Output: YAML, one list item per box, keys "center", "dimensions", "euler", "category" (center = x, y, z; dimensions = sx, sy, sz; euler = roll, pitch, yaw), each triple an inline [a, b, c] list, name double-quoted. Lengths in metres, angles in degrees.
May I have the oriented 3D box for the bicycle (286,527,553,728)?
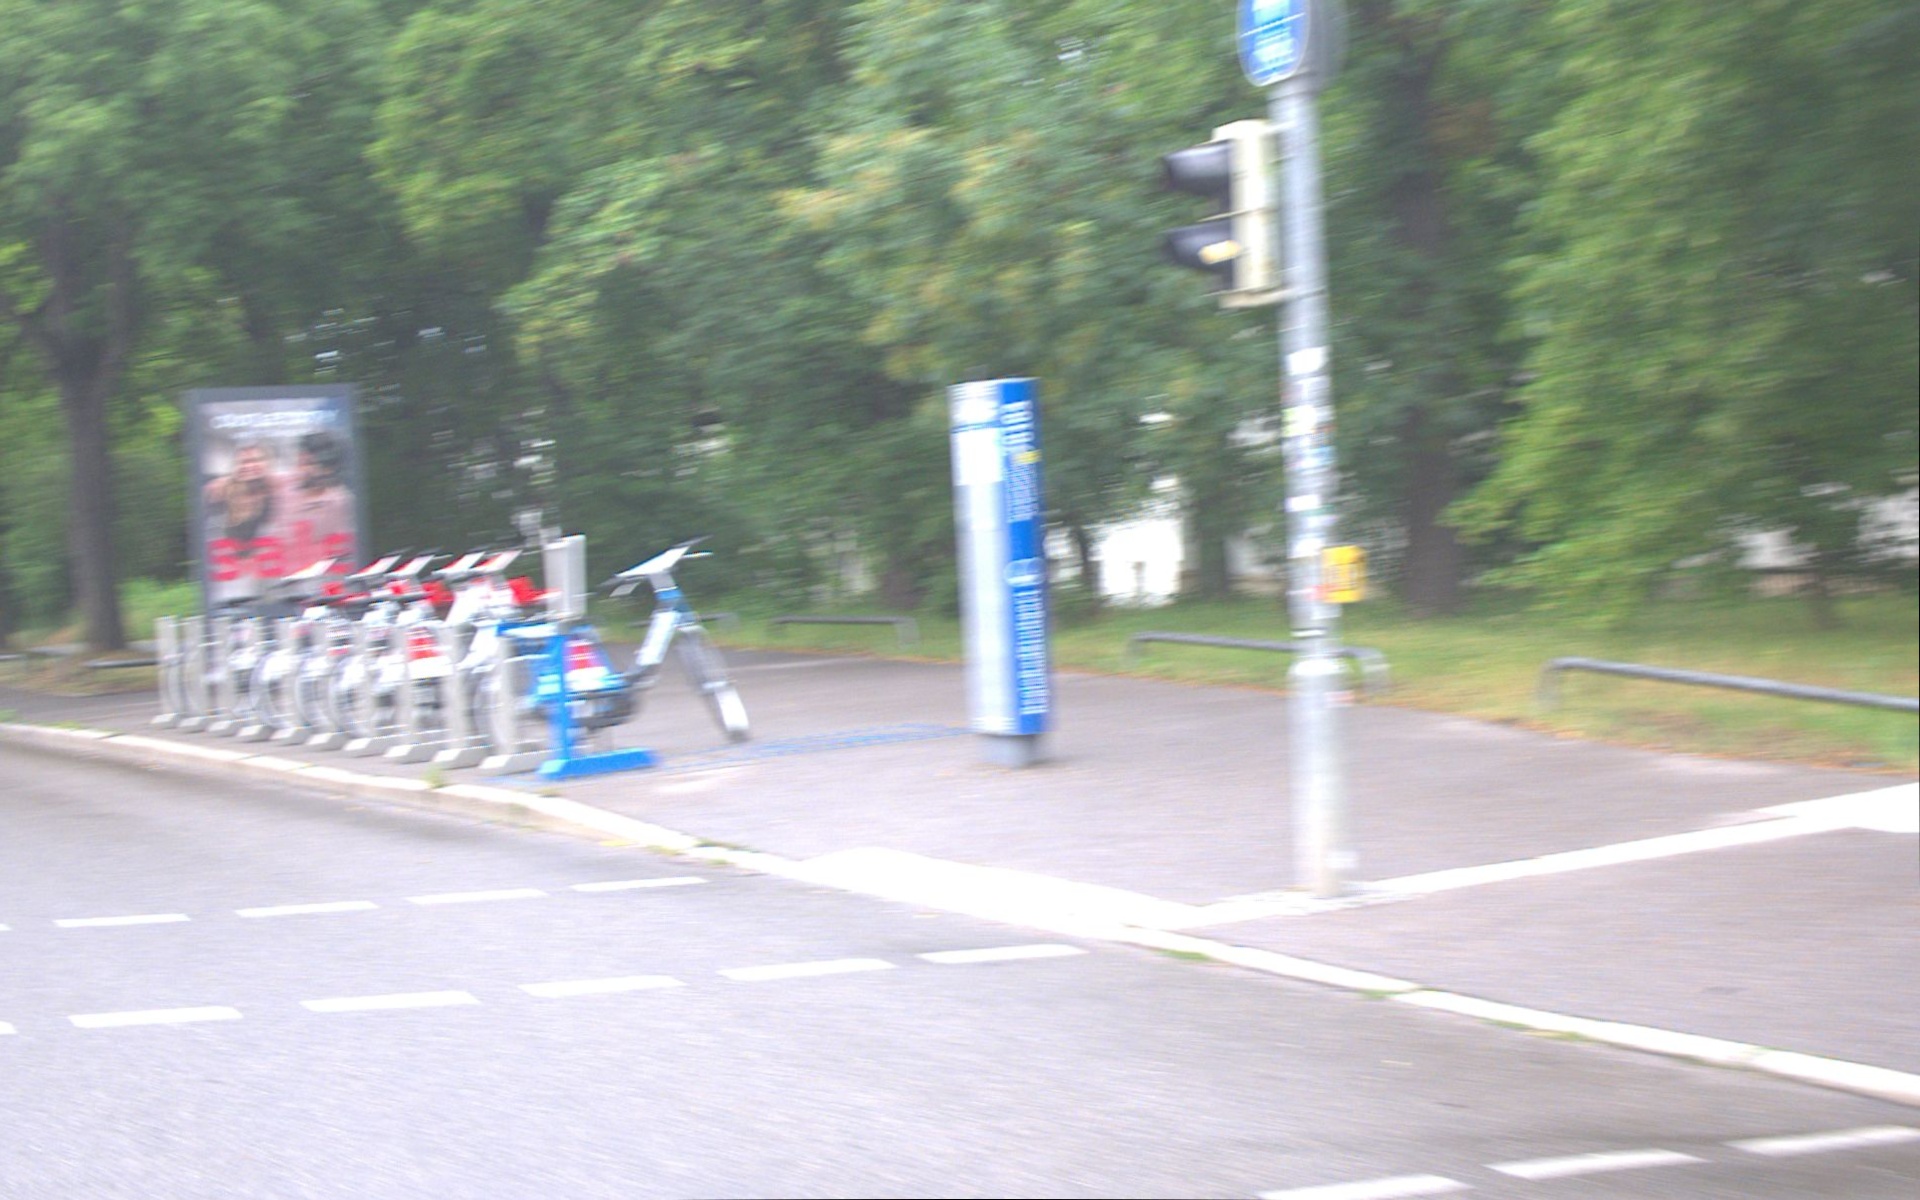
- center: [-3.447, 0.167, 21.954]
  dimensions: [1.485, 1.127, 0.557]
  euler: [-6, 2, -27]
  category: "bicycle"

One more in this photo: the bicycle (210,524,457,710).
- center: [-4.329, 0.109, 23.780]
  dimensions: [1.485, 1.127, 0.557]
  euler: [-6, 2, -27]
  category: "bicycle"

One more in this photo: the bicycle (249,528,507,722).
- center: [-3.849, 0.156, 22.772]
  dimensions: [1.485, 1.127, 0.557]
  euler: [-6, 2, -27]
  category: "bicycle"

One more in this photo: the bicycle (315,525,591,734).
- center: [-3.124, 0.172, 21.208]
  dimensions: [1.485, 1.127, 0.557]
  euler: [-6, 2, -27]
  category: "bicycle"

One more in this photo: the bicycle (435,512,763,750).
- center: [-1.968, 0.158, 18.795]
  dimensions: [1.596, 1.127, 0.557]
  euler: [-6, 2, -27]
  category: "bicycle"

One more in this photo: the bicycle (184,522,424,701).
- center: [-4.686, 0.077, 24.577]
  dimensions: [1.485, 1.127, 0.557]
  euler: [-6, 2, -27]
  category: "bicycle"
